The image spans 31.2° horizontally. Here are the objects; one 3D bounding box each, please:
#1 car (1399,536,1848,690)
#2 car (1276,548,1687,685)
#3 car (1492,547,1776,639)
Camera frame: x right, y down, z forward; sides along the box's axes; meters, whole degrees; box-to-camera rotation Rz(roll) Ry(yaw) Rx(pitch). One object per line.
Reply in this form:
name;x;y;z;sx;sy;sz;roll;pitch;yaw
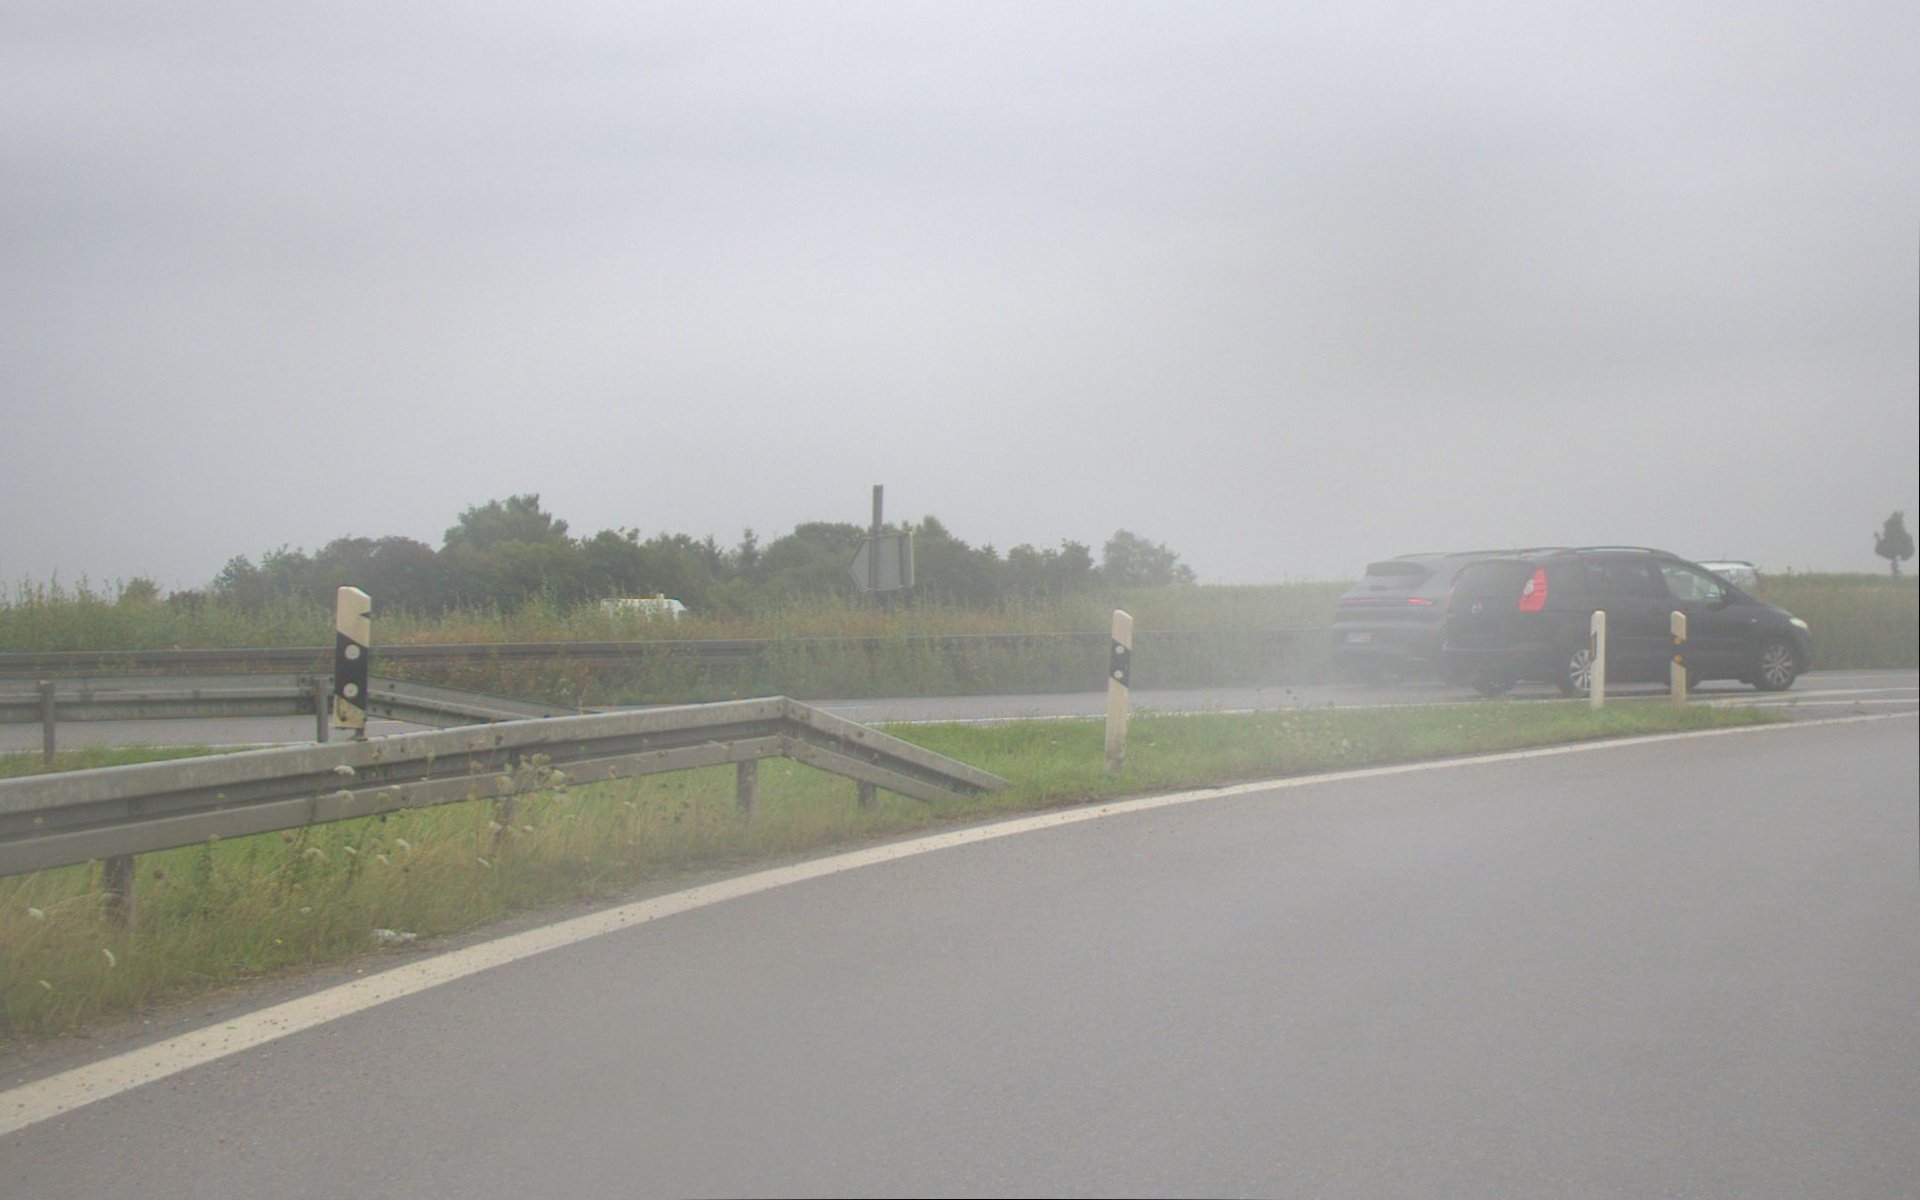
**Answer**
car;7.408;0.136;38.335;4.579;1.630;2.153;0;0;-28
car;6.512;0.177;42.839;4.781;1.630;2.060;0;0;-28
car;11.668;-0.147;59.469;4.516;1.534;2.112;-1;1;-29
